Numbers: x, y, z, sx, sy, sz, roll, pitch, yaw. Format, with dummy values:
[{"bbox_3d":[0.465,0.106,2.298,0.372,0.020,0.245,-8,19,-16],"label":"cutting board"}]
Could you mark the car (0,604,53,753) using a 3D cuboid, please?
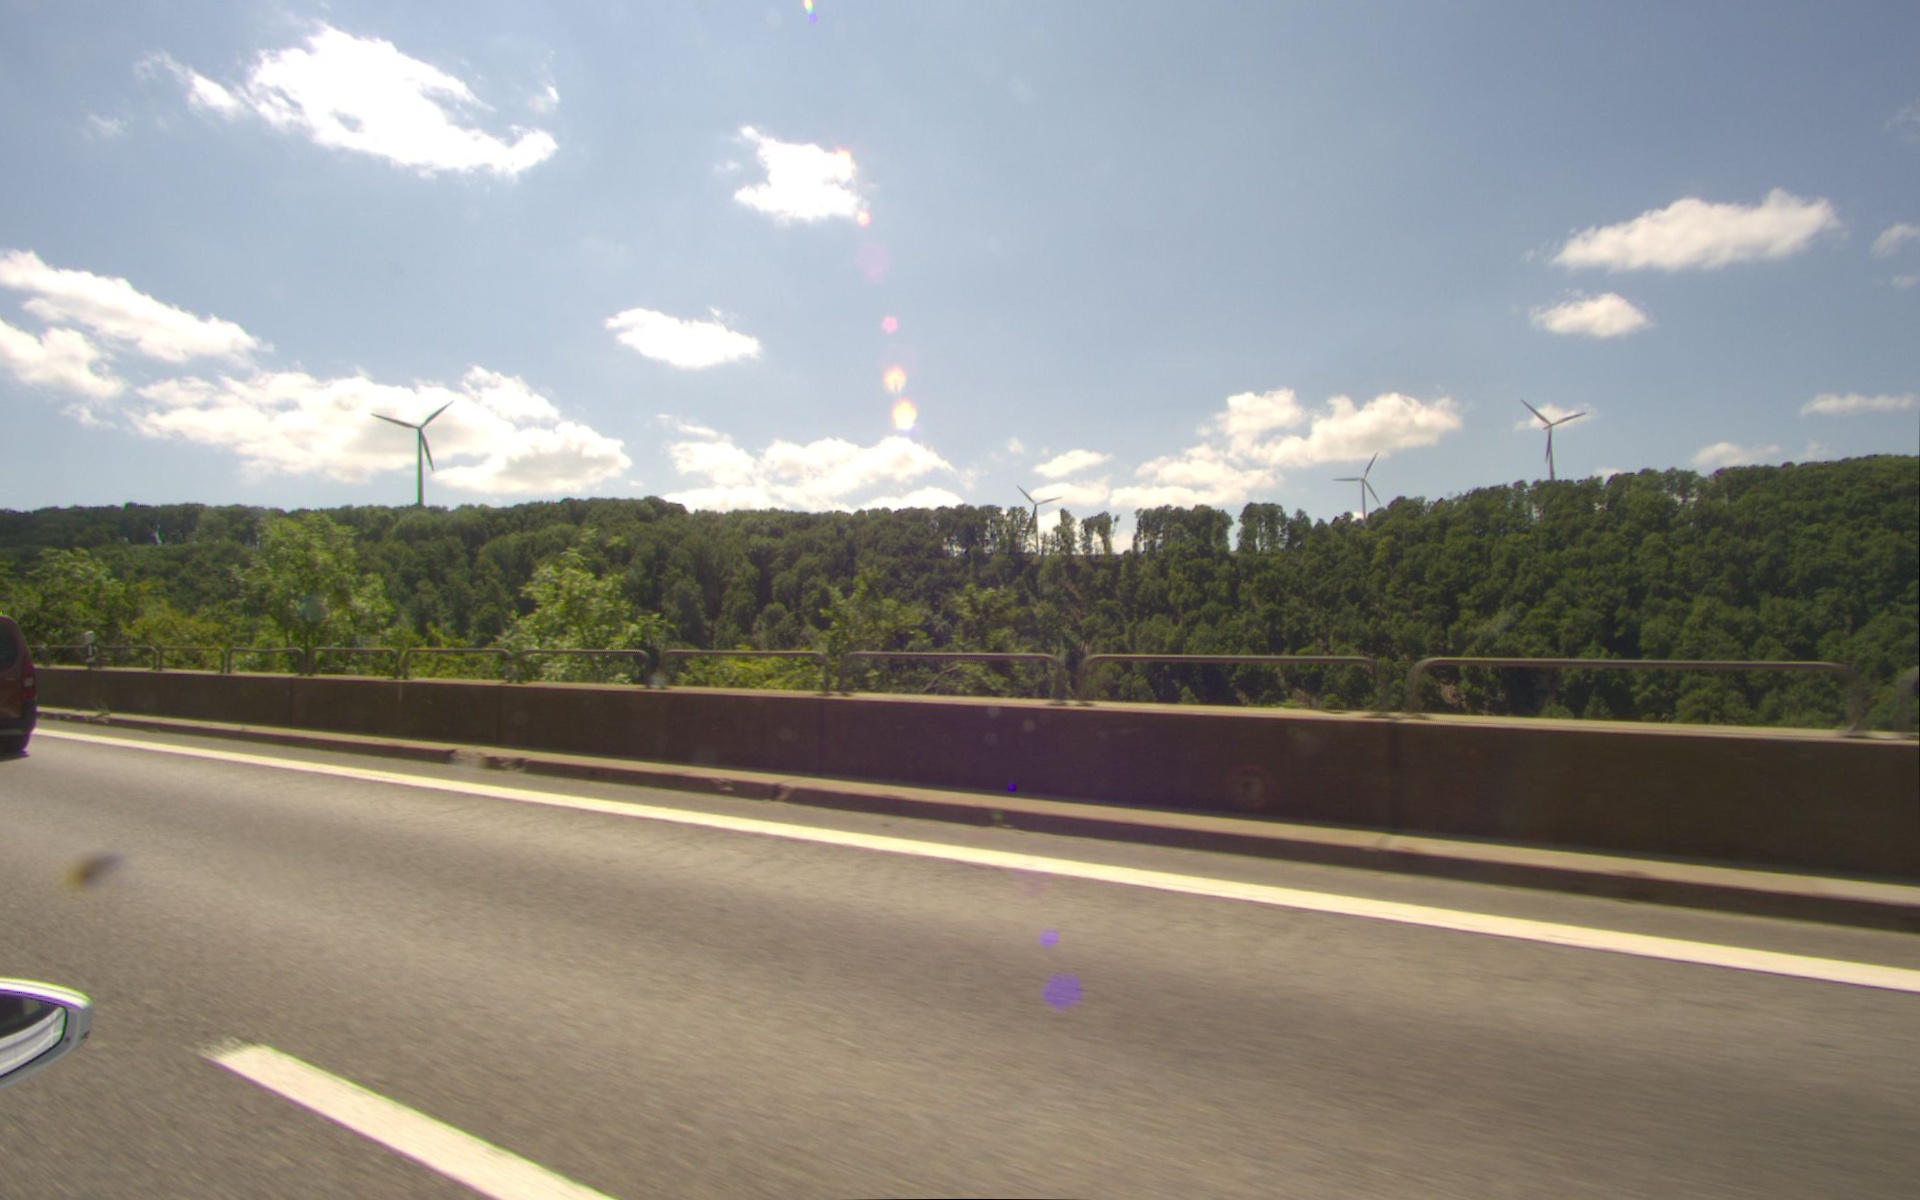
[{"bbox_3d":[-13.846,1.009,13.001,4.608,1.807,1.830,-2,-1,31],"label":"car"}]
